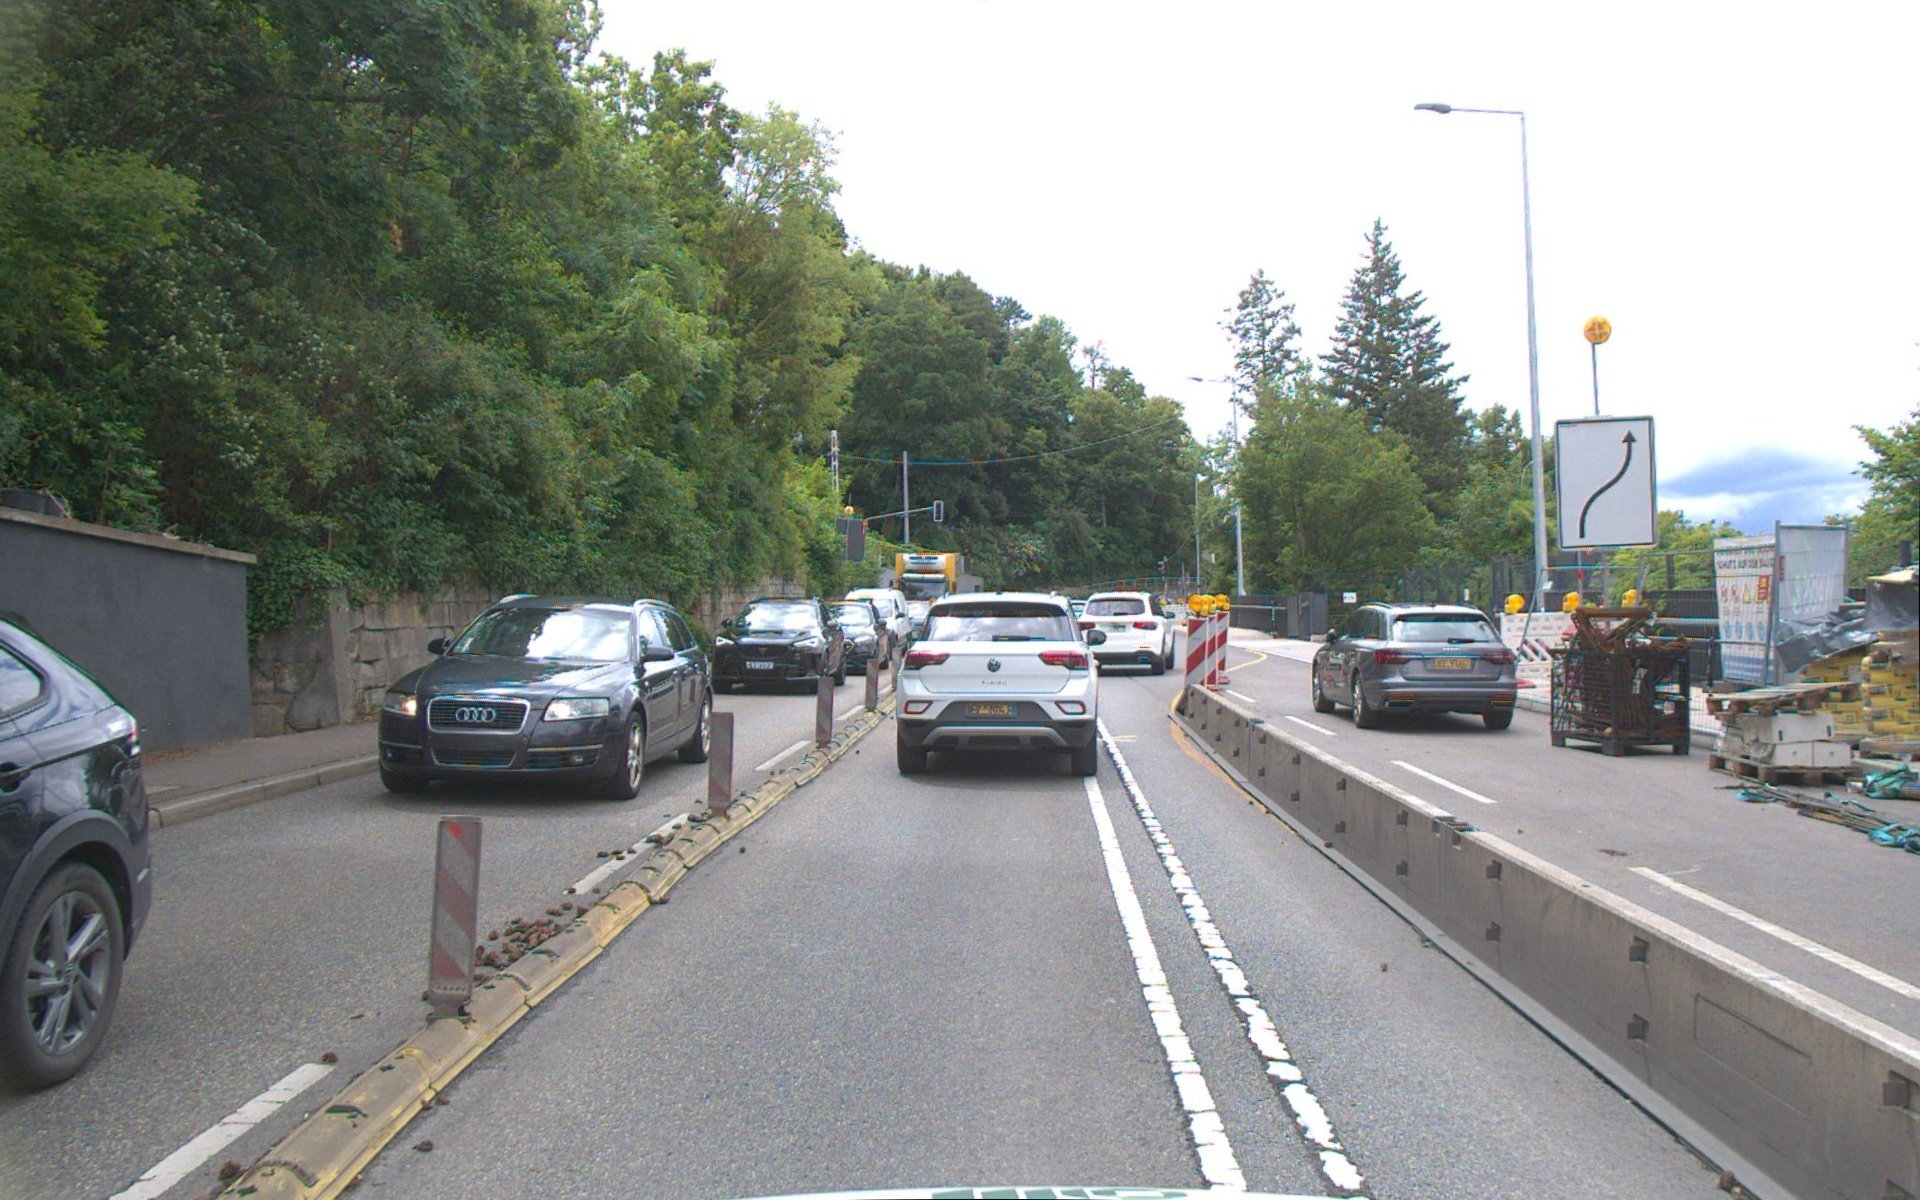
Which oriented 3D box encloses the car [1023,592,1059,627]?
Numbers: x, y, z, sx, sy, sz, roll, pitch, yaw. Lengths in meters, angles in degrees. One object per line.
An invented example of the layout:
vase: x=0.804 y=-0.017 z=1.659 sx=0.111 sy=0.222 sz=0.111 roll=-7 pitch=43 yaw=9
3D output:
car: x=4.263 y=0.490 z=86.528 sx=1.777 sy=1.719 sz=4.002 roll=1 pitch=0 yaw=4

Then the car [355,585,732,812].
car: x=-3.095 y=0.654 z=13.305 sx=1.754 sy=1.490 sz=4.510 roll=1 pitch=0 yaw=2

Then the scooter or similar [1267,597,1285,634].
scooter or similar: x=11.056 y=0.548 z=57.806 sx=0.523 sy=1.248 sz=1.207 roll=-2 pitch=1 yaw=8

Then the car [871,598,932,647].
car: x=-1.916 y=0.729 z=55.400 sx=1.754 sy=1.534 sz=4.312 roll=1 pitch=0 yaw=1

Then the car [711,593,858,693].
car: x=-2.836 y=0.669 z=27.632 sx=1.790 sy=1.511 sz=4.319 roll=1 pitch=0 yaw=2

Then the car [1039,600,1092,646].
car: x=3.847 y=0.811 z=60.690 sx=1.866 sy=1.601 sz=4.001 roll=1 pitch=0 yaw=3

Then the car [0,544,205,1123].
car: x=-3.422 y=0.605 z=3.602 sx=1.722 sy=1.556 sz=3.910 roll=2 pitch=0 yaw=0

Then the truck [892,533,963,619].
truck: x=-1.346 y=-0.984 z=73.124 sx=2.674 sy=3.571 sz=7.352 roll=0 pitch=0 yaw=2

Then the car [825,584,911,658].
car: x=-2.369 y=0.535 z=43.563 sx=1.765 sy=1.822 sz=4.343 roll=1 pitch=0 yaw=3

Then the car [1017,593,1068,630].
car: x=3.672 y=0.520 z=74.297 sx=1.953 sy=1.568 sz=4.008 roll=1 pitch=0 yaw=-2

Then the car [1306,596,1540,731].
car: x=5.597 y=0.698 z=20.590 sx=1.801 sy=1.480 sz=4.629 roll=0 pitch=0 yaw=2

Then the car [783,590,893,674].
car: x=-2.512 y=0.647 z=35.034 sx=1.793 sy=1.620 sz=4.655 roll=1 pitch=0 yaw=2

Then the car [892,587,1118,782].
car: x=0.433 y=0.690 z=15.428 sx=1.828 sy=1.563 sz=3.804 roll=1 pitch=0 yaw=2

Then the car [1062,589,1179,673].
car: x=3.370 y=0.612 z=34.123 sx=1.951 sy=1.614 sz=4.003 roll=1 pitch=0 yaw=12
